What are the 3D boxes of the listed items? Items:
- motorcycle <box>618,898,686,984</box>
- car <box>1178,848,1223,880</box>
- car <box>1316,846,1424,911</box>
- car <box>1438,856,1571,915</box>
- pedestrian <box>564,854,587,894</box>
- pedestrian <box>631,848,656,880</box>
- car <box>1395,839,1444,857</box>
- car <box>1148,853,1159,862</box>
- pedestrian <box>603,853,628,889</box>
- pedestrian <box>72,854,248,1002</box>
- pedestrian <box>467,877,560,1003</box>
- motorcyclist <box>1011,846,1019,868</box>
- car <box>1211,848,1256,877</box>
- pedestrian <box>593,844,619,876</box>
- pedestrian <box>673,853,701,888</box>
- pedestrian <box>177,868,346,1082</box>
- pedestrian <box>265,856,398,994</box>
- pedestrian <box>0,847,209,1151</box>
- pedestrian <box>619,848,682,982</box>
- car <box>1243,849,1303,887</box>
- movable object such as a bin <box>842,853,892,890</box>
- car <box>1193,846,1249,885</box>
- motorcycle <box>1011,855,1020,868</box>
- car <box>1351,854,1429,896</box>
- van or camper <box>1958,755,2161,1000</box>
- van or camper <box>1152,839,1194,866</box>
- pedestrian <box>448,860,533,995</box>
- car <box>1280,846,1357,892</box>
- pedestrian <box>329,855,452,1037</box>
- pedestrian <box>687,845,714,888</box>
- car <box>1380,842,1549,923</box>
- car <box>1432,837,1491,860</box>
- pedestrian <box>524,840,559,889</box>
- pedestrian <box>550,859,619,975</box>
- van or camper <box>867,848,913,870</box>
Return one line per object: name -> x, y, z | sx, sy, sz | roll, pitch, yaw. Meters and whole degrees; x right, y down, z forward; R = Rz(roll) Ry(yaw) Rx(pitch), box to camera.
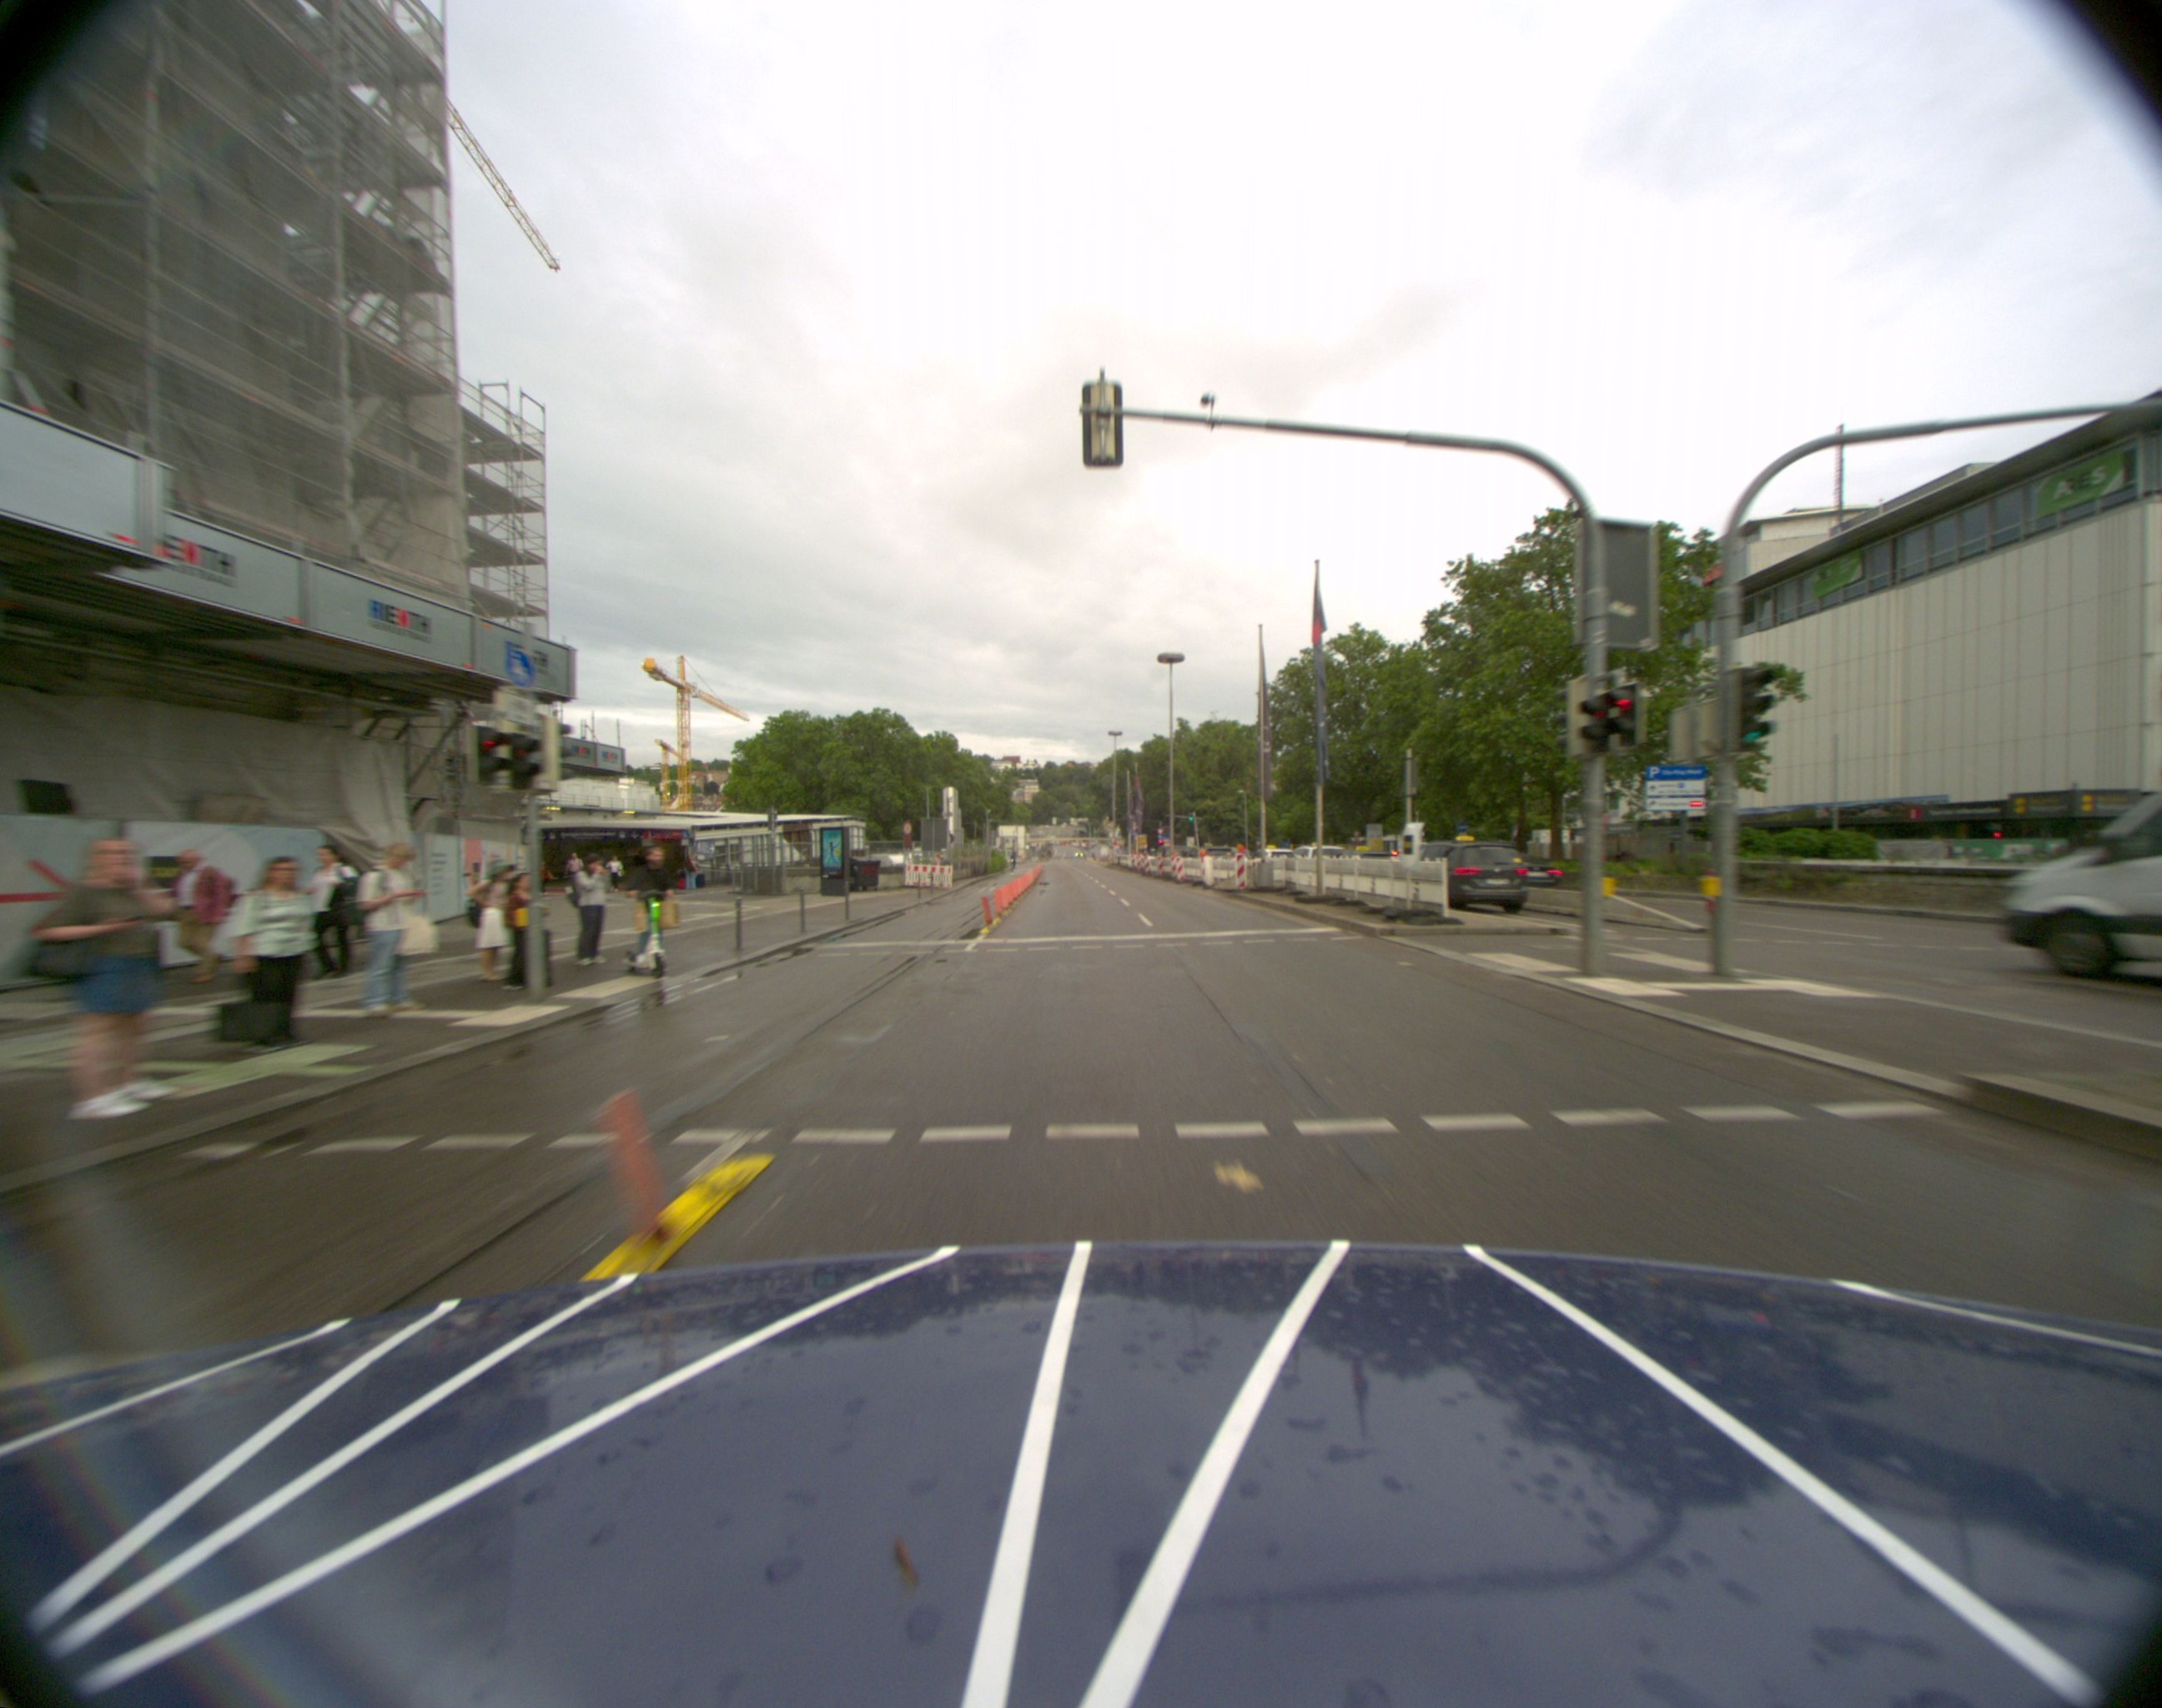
motorcycle -> -5.855, 1.147, 10.340 | 0.587, 1.015, 1.236 | -2, 1, -39
car -> 7.003, 0.582, 44.938 | 1.998, 1.760, 4.811 | 0, 0, 1
car -> 9.423, 0.750, 25.223 | 1.908, 1.887, 4.523 | -2, 0, 1
car -> 12.772, 0.884, 23.217 | 1.818, 1.601, 4.044 | 2, 0, 1
pedestrian -> -24.027, 0.926, 36.125 | 0.863, 1.865, 0.640 | -1, 1, -35
pedestrian -> -24.610, 0.544, 42.725 | 0.951, 1.783, 0.770 | 0, 1, 0
car -> 39.934, -0.700, 89.728 | 4.827, 2.002, 2.037 | -1, 0, 9
car -> 11.883, 0.573, 124.687 | 1.682, 1.533, 3.175 | 0, -1, 4
pedestrian -> -21.484, 0.773, 35.068 | 0.916, 1.637, 0.700 | -1, 1, -35
pedestrian -> -11.163, 0.849, 9.256 | 0.734, 1.672, 1.110 | -1, 1, 6
pedestrian -> -6.908, 1.021, 9.276 | 0.559, 1.441, 0.711 | 2, 1, 5
motorcyclist -> -6.073, 0.302, 70.342 | 0.726, 2.024, 0.587 | 0, 0, -3
car -> 9.541, 0.532, 47.980 | 1.895, 1.692, 4.421 | -2, 0, 0
pedestrian -> -26.545, 0.342, 42.471 | 0.951, 1.783, 0.770 | 0, 1, 0
pedestrian -> -18.614, 0.793, 35.911 | 0.857, 1.584, 0.709 | -3, 2, -4
pedestrian -> -6.777, 0.953, 6.318 | 0.559, 1.631, 0.752 | 2, 1, 5
pedestrian -> -9.606, 0.870, 9.777 | 0.737, 1.668, 0.957 | 2, 1, 3
pedestrian -> -6.162, 0.841, 4.756 | 0.560, 1.749, 0.751 | 2, 1, -10
pedestrian -> -5.851, 0.792, 10.323 | 0.582, 1.731, 0.820 | -2, 1, -39
car -> 9.690, 0.671, 38.636 | 1.919, 1.840, 4.566 | 0, 0, 0
movable object such as a bin -> -8.922, 0.709, 31.719 | 1.299, 1.483, 1.537 | 0, 1, 32
car -> 6.860, 0.544, 37.742 | 1.998, 1.806, 4.811 | 0, 0, 1
motorcycle -> -6.080, 0.713, 70.356 | 0.730, 1.221, 2.160 | 0, -1, -3
car -> 13.478, 0.871, 33.371 | 1.838, 1.636, 3.804 | -2, 0, 0
van or camper -> 12.002, 0.274, 6.850 | 1.998, 2.500, 5.370 | 2, 1, 2
van or camper -> 6.343, -0.115, 53.168 | 1.951, 1.809, 5.389 | 1, 0, -4
pedestrian -> -7.540, 0.914, 9.717 | 0.565, 1.641, 0.615 | 2, 1, 8
car -> 9.484, 0.574, 30.691 | 1.788, 1.712, 4.483 | 0, 0, 1
pedestrian -> -7.003, 0.894, 7.729 | 0.559, 1.742, 0.711 | 2, 1, 5
pedestrian -> -18.556, 0.603, 37.066 | 0.806, 2.002, 0.765 | -3, 2, -4
car -> 9.119, 0.614, 18.562 | 1.908, 1.689, 4.500 | -2, 0, 1
car -> 30.028, -0.394, 59.964 | 3.734, 1.534, 1.855 | -3, 2, 41
pedestrian -> -22.589, 0.428, 31.851 | 0.765, 2.002, 0.933 | 0, 1, 1
pedestrian -> -7.299, 0.901, 11.187 | 0.559, 1.641, 0.615 | 2, 1, 5
van or camper -> -21.729, 0.592, 86.280 | 2.391, 2.387, 6.046 | 0, -1, -43
